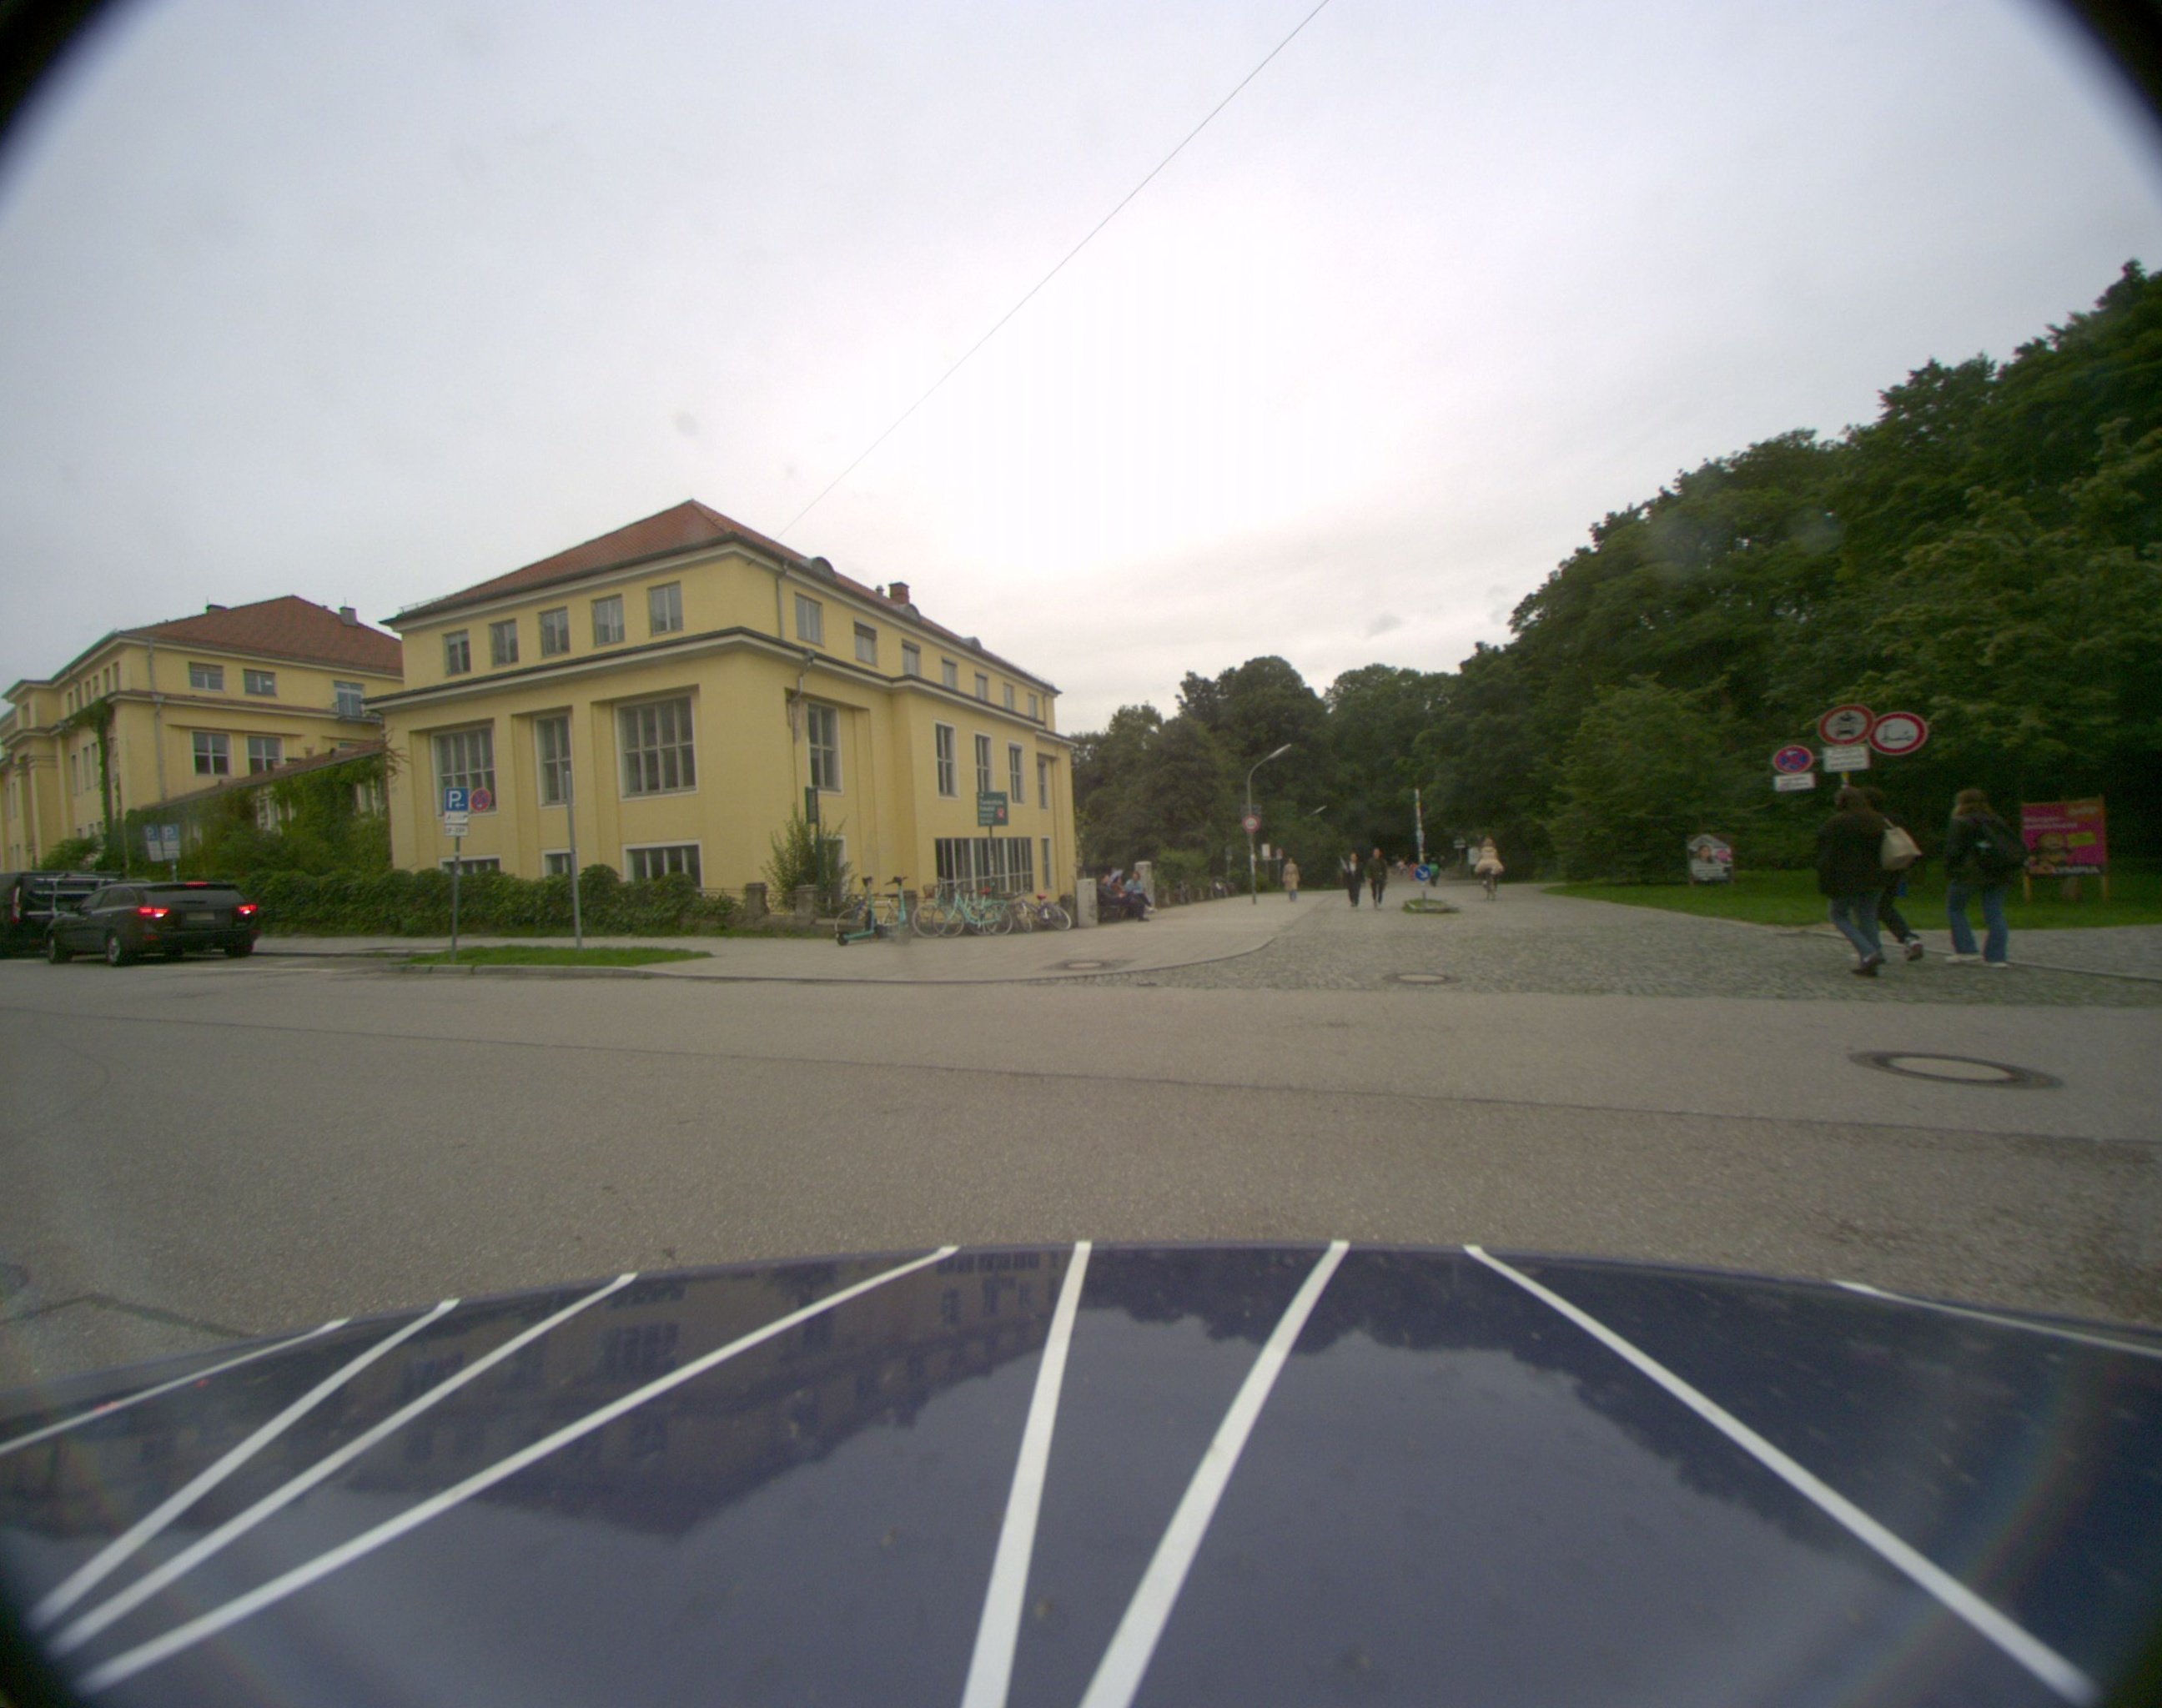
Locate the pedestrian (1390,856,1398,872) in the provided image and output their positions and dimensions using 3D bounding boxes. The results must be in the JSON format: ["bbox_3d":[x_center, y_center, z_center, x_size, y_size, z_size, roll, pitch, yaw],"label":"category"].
[{"bbox_3d":[32.718,1.078,79.402,0.685,1.662,0.775,-4,-3,22],"label":"pedestrian"}]

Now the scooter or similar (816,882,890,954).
[{"bbox_3d":[-4.221,1.162,14.143,0.396,1.240,1.393,-2,-1,30],"label":"scooter or similar"}]

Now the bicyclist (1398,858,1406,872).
[{"bbox_3d":[30.530,1.025,72.267,0.563,1.259,0.762,-2,3,21],"label":"bicyclist"}]

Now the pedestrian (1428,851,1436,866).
[{"bbox_3d":[42.154,0.552,91.335,0.741,1.662,0.923,-4,-3,22],"label":"pedestrian"}]

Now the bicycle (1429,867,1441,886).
[{"bbox_3d":[19.927,1.254,42.831,0.463,1.053,1.765,-2,-2,21],"label":"bicycle"}]

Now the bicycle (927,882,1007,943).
[{"bbox_3d":[-2.331,1.192,15.694,1.657,1.184,0.202,0,-1,-28],"label":"bicycle"}]

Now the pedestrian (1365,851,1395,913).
[{"bbox_3d":[8.305,0.783,21.087,0.638,1.662,0.775,-4,-3,22],"label":"pedestrian"}]

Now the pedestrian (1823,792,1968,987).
[{"bbox_3d":[8.406,0.359,7.883,0.706,1.892,0.805,-1,-1,21],"label":"pedestrian"}]

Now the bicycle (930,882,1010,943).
[{"bbox_3d":[-2.252,1.181,15.512,1.657,1.191,0.169,0,-1,-28],"label":"bicycle"}]

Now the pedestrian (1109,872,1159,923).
[{"bbox_3d":[1.413,1.155,20.243,1.176,1.285,0.640,-4,-3,10],"label":"pedestrian"}]

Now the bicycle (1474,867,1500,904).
[{"bbox_3d":[12.383,0.935,23.204,0.482,1.034,1.949,-2,0,23],"label":"bicycle"}]

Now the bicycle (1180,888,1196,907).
[{"bbox_3d":[4.126,1.668,29.254,0.215,0.671,0.911,-1,-1,33],"label":"bicycle"}]

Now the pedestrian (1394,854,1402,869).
[{"bbox_3d":[34.229,0.815,82.053,0.685,1.662,0.775,-4,-3,22],"label":"pedestrian"}]

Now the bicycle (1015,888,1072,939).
[{"bbox_3d":[-0.813,1.296,16.936,0.306,1.032,1.658,-1,-1,35],"label":"bicycle"}]

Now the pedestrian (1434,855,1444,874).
[{"bbox_3d":[32.351,0.968,68.728,0.685,1.662,0.775,-4,-3,22],"label":"pedestrian"}]

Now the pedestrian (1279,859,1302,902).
[{"bbox_3d":[8.433,1.073,30.553,0.652,1.675,0.977,-4,-3,22],"label":"pedestrian"}]

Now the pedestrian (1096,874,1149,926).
[{"bbox_3d":[1.060,1.169,19.366,1.215,1.239,0.640,-4,-3,10],"label":"pedestrian"}]

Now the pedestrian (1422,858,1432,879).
[{"bbox_3d":[29.535,1.239,64.843,0.685,1.662,0.775,-4,-3,22],"label":"pedestrian"}]

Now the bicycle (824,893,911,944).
[{"bbox_3d":[-4.239,1.284,15.118,1.653,0.987,0.248,0,-1,-3],"label":"bicycle"}]

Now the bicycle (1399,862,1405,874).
[{"bbox_3d":[30.563,1.308,72.334,0.463,1.054,1.763,-2,2,21],"label":"bicycle"}]

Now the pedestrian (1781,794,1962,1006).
[{"bbox_3d":[7.416,0.413,7.202,0.750,1.822,1.117,-1,-1,21],"label":"pedestrian"}]

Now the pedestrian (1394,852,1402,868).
[{"bbox_3d":[35.329,0.695,84.638,0.685,1.662,0.775,-4,-3,22],"label":"pedestrian"}]

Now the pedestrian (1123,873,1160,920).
[{"bbox_3d":[1.662,1.158,20.847,0.886,1.227,0.551,-4,-3,10],"label":"pedestrian"}]

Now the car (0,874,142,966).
[{"bbox_3d":[-26.131,1.619,19.105,4.671,2.059,1.980,-2,-1,24],"label":"car"}]

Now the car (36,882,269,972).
[{"bbox_3d":[-20.415,1.563,16.714,4.615,1.698,1.940,-2,-1,22],"label":"car"}]

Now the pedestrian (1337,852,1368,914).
[{"bbox_3d":[7.588,0.815,21.238,0.685,1.662,0.775,-4,-3,22],"label":"pedestrian"}]

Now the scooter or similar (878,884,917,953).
[{"bbox_3d":[-3.383,1.153,13.971,0.324,1.205,1.115,-1,-1,-32],"label":"scooter or similar"}]

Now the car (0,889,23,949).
[{"bbox_3d":[-35.693,2.095,23.967,4.670,1.825,1.980,-3,-1,27],"label":"car"}]

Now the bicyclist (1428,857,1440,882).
[{"bbox_3d":[19.904,0.887,42.849,0.563,1.366,0.763,-2,-1,21],"label":"bicyclist"}]

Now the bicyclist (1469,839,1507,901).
[{"bbox_3d":[12.295,0.475,22.981,0.855,1.792,0.768,-3,0,21],"label":"bicyclist"}]

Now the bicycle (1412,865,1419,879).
[{"bbox_3d":[28.697,1.573,65.244,0.463,1.054,1.763,-2,2,21],"label":"bicycle"}]

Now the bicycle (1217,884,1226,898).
[{"bbox_3d":[6.613,1.736,35.808,0.215,0.671,0.911,-1,-1,24],"label":"bicycle"}]

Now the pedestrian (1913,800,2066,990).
[{"bbox_3d":[9.038,0.396,7.597,0.633,1.771,0.802,-1,-1,21],"label":"pedestrian"}]

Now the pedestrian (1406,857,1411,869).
[{"bbox_3d":[34.834,0.980,80.825,0.470,1.259,0.448,-2,3,21],"label":"pedestrian"}]

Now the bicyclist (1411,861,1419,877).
[{"bbox_3d":[28.679,1.297,65.190,0.563,1.259,0.762,-2,3,21],"label":"bicyclist"}]

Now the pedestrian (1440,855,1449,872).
[{"bbox_3d":[36.643,0.921,76.643,0.685,1.662,0.775,-4,-3,22],"label":"pedestrian"}]

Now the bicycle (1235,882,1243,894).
[{"bbox_3d":[8.339,1.788,40.016,0.241,0.653,0.911,-1,-1,22],"label":"bicycle"}]

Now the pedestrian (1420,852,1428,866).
[{"bbox_3d":[41.343,0.588,91.655,0.741,1.662,0.923,-4,-3,22],"label":"pedestrian"}]

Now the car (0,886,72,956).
[{"bbox_3d":[-30.643,1.884,21.316,4.670,1.825,1.980,-3,-1,27],"label":"car"}]
